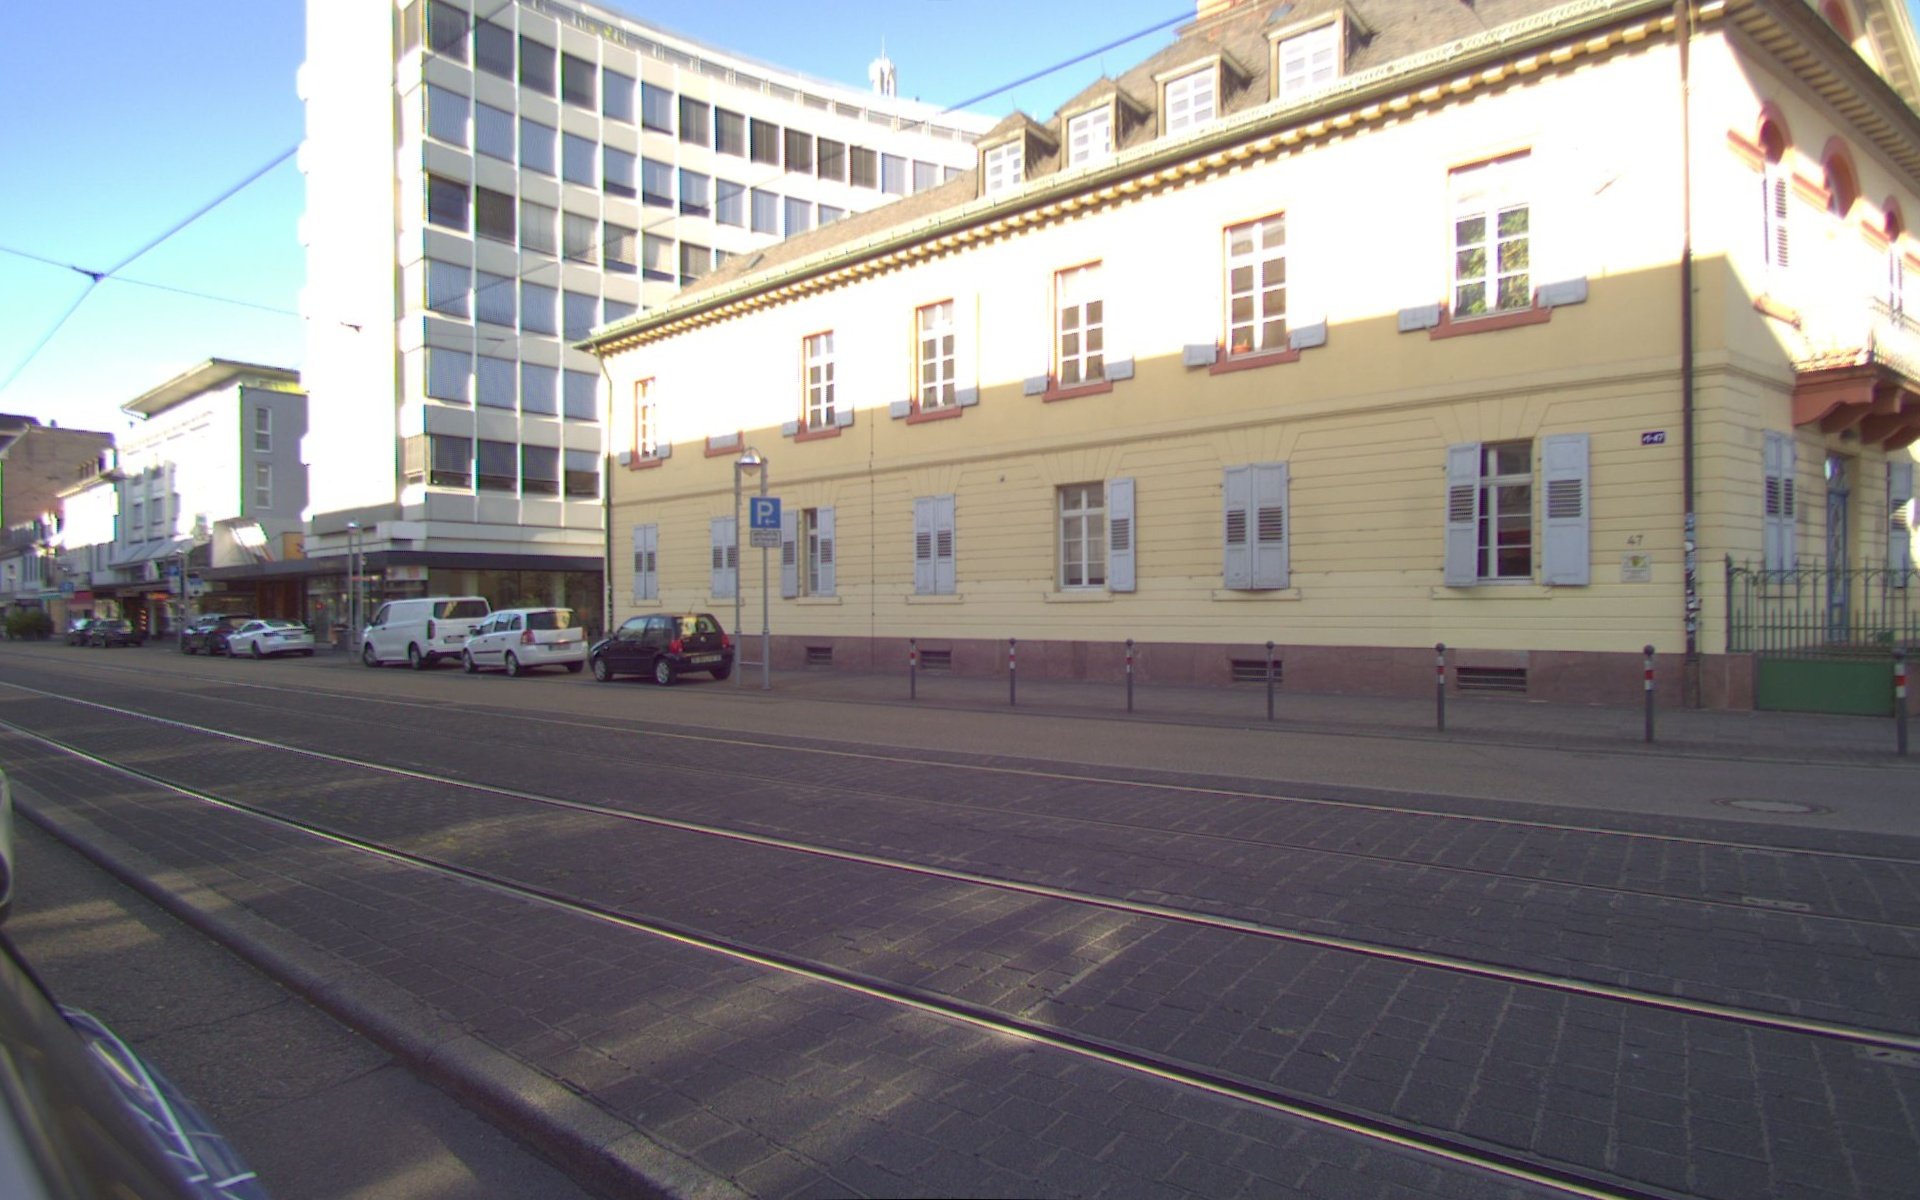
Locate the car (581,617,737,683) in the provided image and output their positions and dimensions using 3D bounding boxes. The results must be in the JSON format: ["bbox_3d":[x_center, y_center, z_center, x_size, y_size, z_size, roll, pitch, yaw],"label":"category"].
[{"bbox_3d":[-6.398,1.003,21.433,3.210,1.263,1.667,-1,0,39],"label":"car"}]

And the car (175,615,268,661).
[{"bbox_3d":[-29.919,1.490,40.971,4.103,1.717,1.975,-1,0,38],"label":"car"}]

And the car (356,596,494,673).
[{"bbox_3d":[-15.364,0.969,28.959,4.619,2.029,2.014,-1,-1,41],"label":"car"}]

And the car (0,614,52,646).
[{"bbox_3d":[-62.959,1.998,68.111,3.996,2.058,2.172,-1,-1,39],"label":"car"}]

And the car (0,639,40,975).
[{"bbox_3d":[-6.106,0.901,4.776,3.992,1.393,1.862,-1,0,36],"label":"car"}]

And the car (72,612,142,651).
[{"bbox_3d":[-43.788,1.577,51.926,3.995,1.874,1.974,-1,0,38],"label":"car"}]

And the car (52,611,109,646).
[{"bbox_3d":[-50.354,1.612,57.916,3.994,1.896,1.768,-1,-1,38],"label":"car"}]

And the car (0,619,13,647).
[{"bbox_3d":[-71.254,2.423,74.396,3.998,2.029,1.973,-1,-1,41],"label":"car"}]

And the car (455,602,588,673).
[{"bbox_3d":[-11.037,0.890,25.348,4.005,1.621,1.619,-1,0,43],"label":"car"}]

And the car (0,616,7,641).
[{"bbox_3d":[-78.735,2.302,81.799,3.995,2.029,1.974,-1,0,38],"label":"car"}]

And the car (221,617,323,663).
[{"bbox_3d":[-25.627,1.444,37.649,4.369,1.541,1.974,-1,0,39],"label":"car"}]
